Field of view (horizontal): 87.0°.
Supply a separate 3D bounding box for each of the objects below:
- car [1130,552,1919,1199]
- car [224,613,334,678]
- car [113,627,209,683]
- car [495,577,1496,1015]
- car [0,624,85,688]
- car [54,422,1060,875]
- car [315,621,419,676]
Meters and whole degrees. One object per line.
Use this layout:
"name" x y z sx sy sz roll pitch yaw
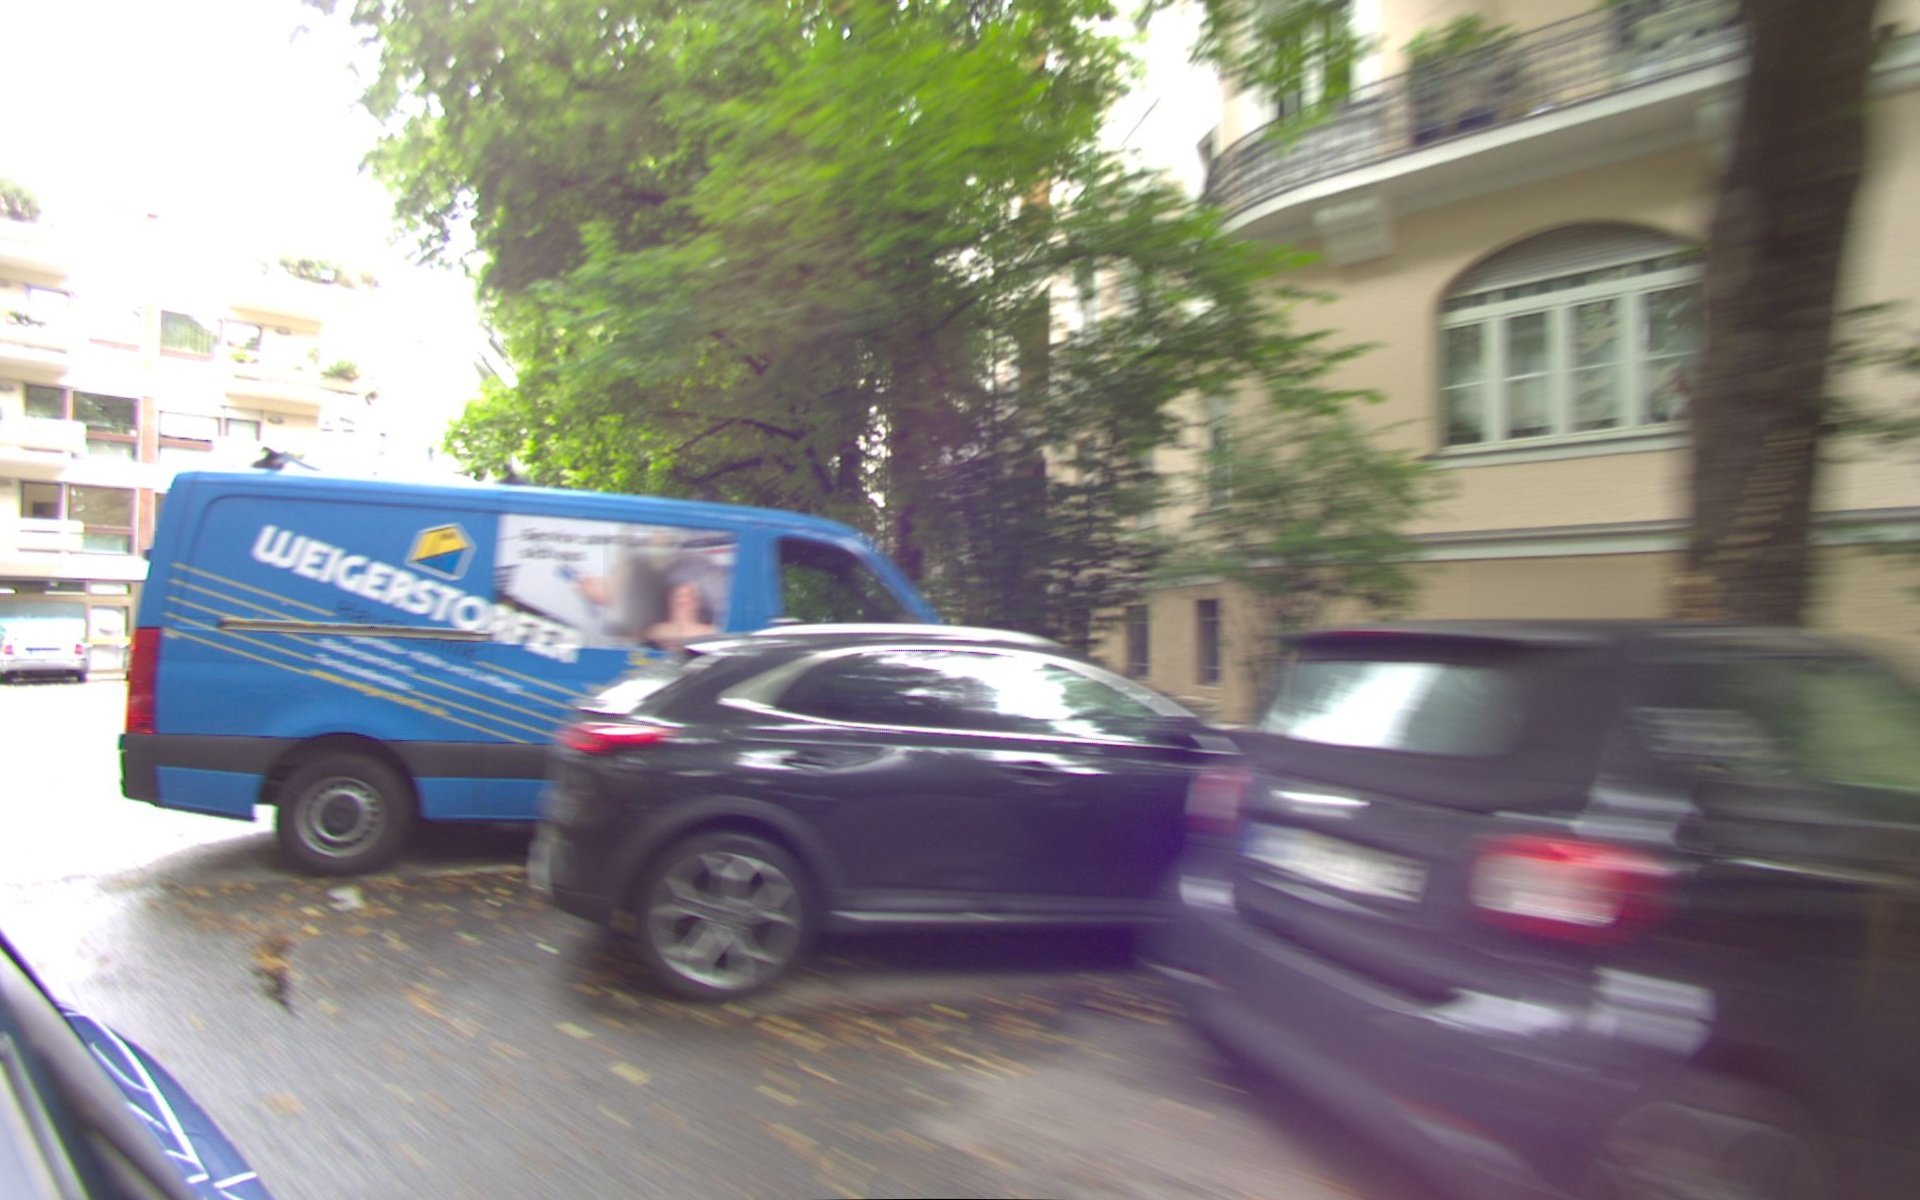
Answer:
"car" 2.685 0.792 3.154 3.801 1.572 1.821 2 -2 -18
"car" -19.576 1.350 29.035 1.874 1.697 4.236 1 -5 -45
"car" -21.705 1.512 27.434 1.692 1.378 4.075 1 -4 -43
"car" 0.153 0.780 4.828 3.935 1.548 1.819 2 -2 -10
"car" -23.572 1.461 25.816 1.695 1.466 4.245 1 -5 -43
"car" -2.269 0.404 6.911 5.404 2.372 2.071 3 -2 -13
"car" -18.094 1.518 30.817 1.808 1.491 4.002 2 -6 -44
